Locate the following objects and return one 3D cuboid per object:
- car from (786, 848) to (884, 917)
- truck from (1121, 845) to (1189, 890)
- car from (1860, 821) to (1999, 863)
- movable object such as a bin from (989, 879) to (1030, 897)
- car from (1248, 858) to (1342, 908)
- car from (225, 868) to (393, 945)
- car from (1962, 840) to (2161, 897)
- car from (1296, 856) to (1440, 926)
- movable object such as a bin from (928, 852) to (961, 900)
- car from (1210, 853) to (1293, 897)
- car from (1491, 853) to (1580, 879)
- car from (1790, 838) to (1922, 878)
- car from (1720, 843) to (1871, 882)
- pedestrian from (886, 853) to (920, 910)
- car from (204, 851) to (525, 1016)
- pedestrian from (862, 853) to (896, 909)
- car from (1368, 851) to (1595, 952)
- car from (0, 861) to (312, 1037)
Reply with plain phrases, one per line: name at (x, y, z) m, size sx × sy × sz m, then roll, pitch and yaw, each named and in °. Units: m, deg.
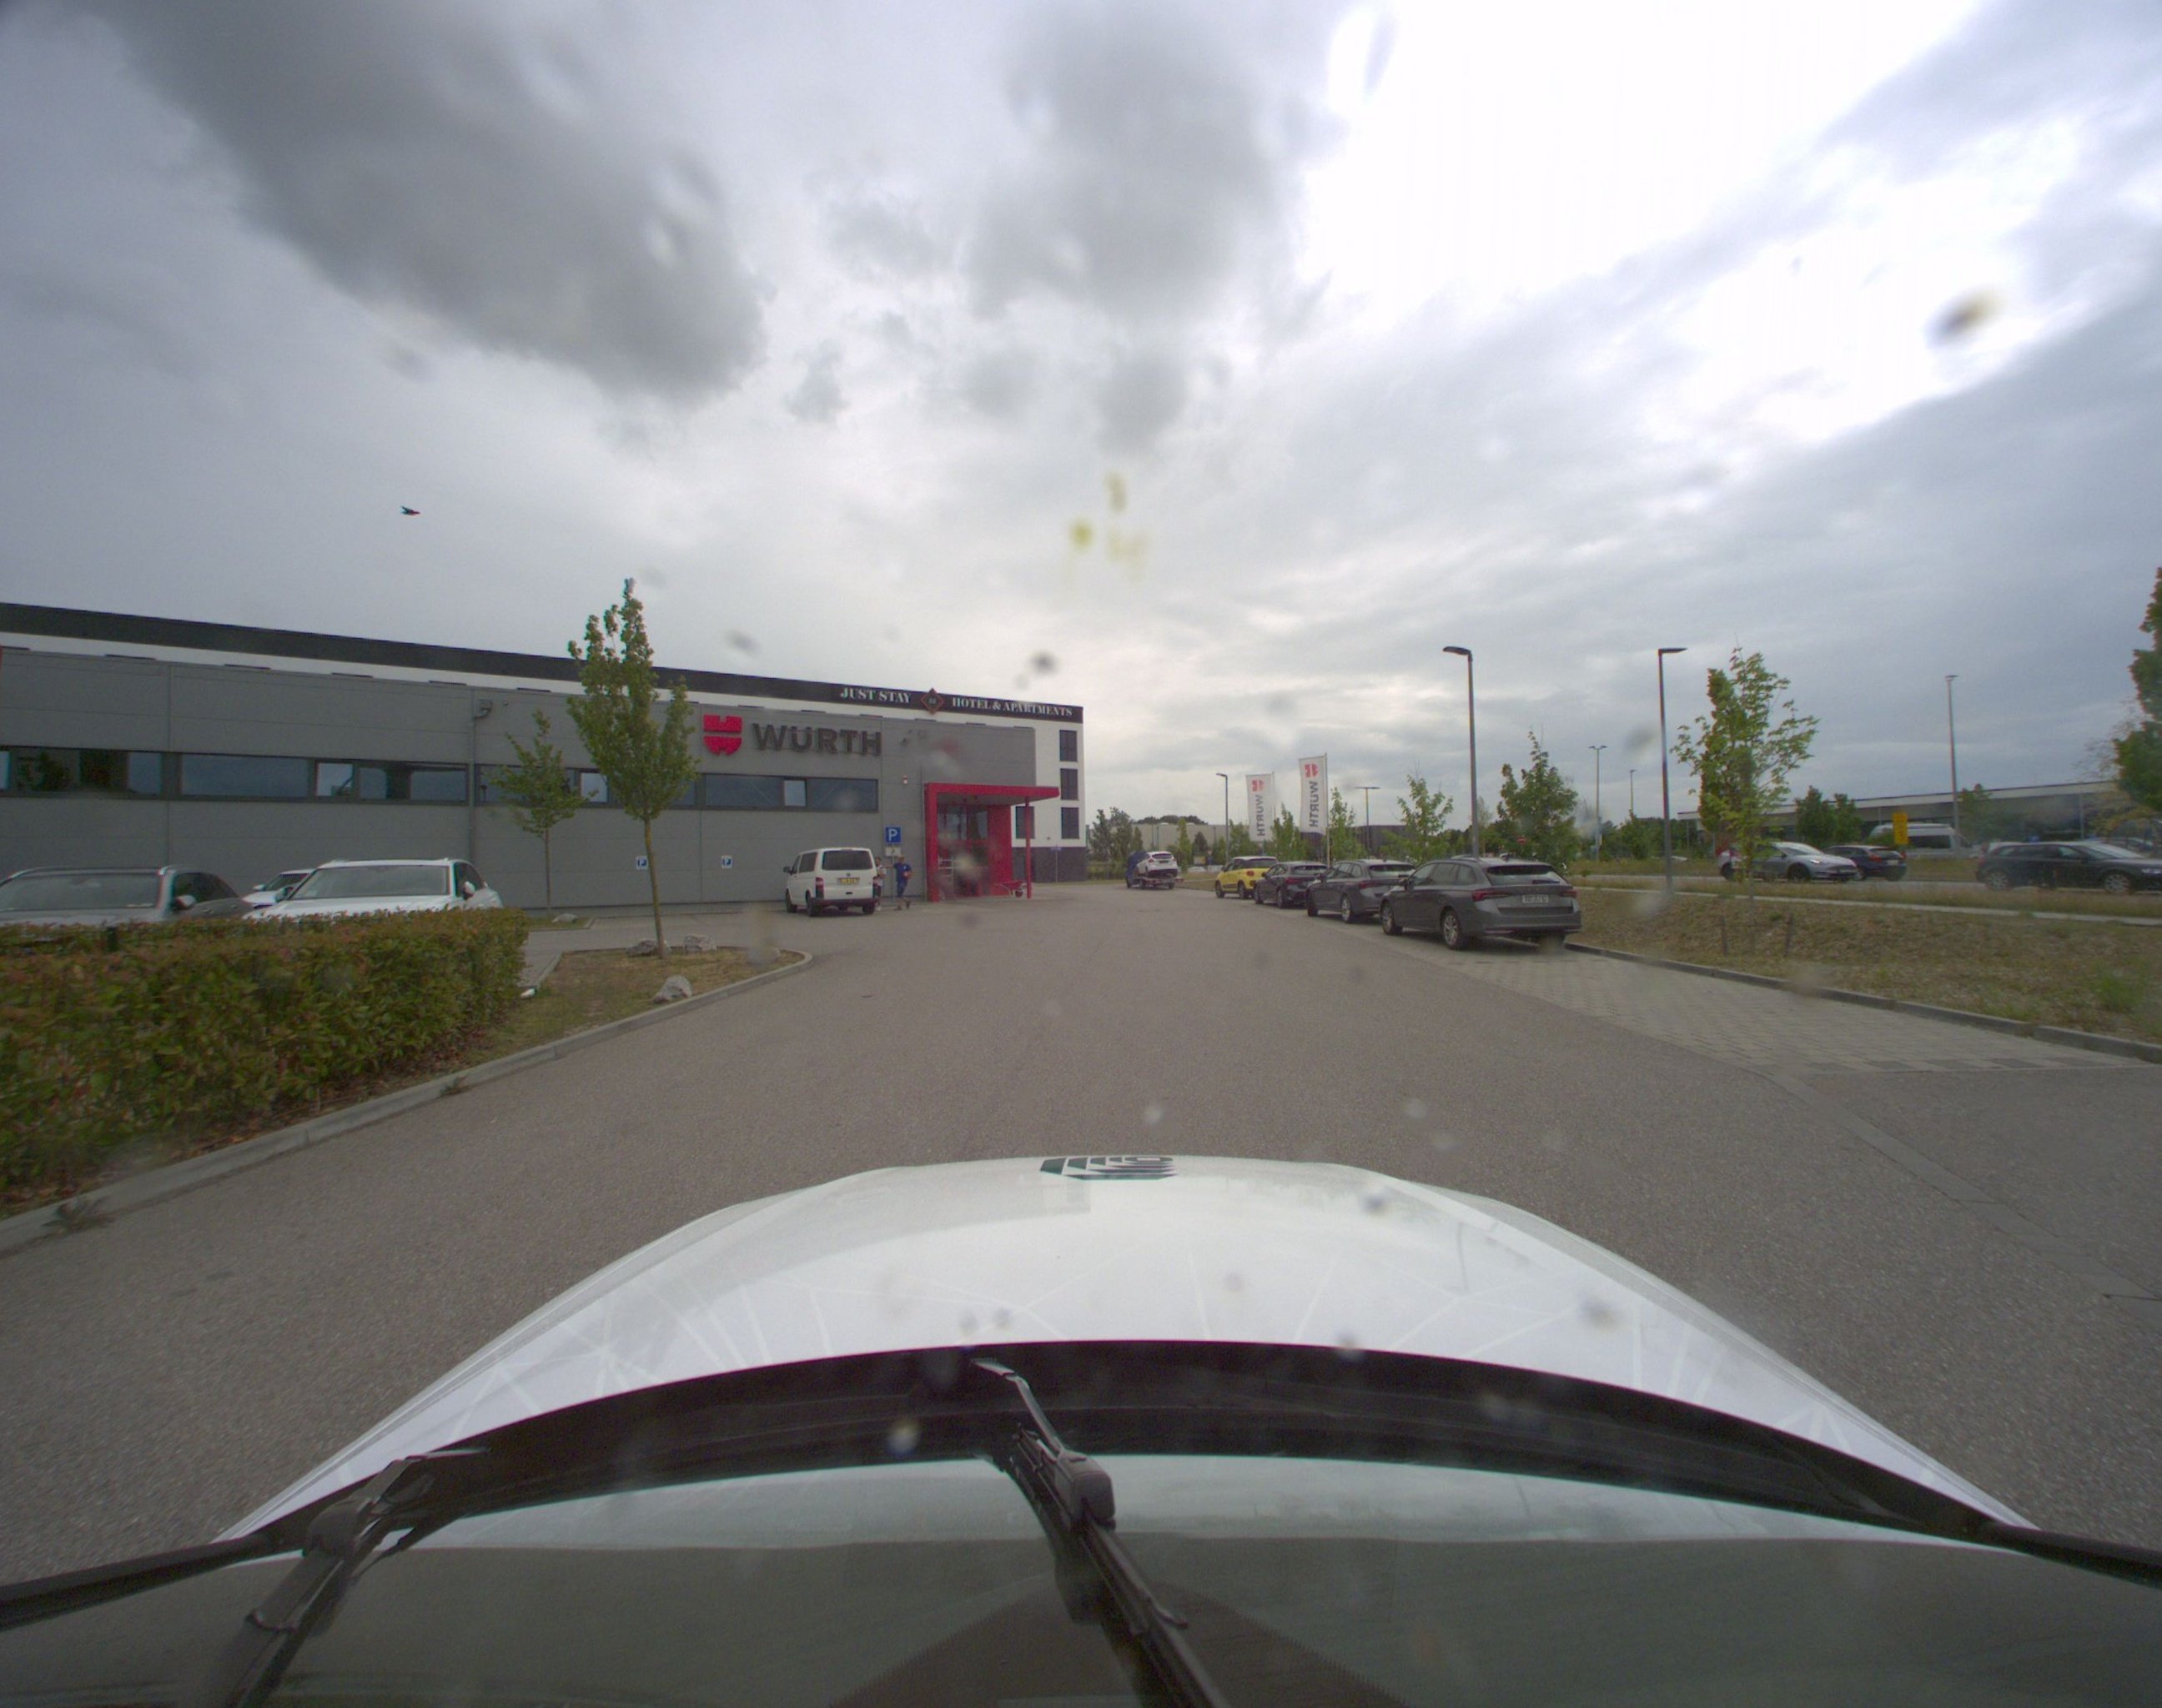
car at (-7.561, 0.849, 24.757) m, size 2.067 × 1.855 × 4.024 m, roll -2°, pitch -1°, yaw -28°
truck at (4.310, 0.818, 49.169) m, size 2.330 × 2.406 × 7.874 m, roll -2°, pitch -1°, yaw -8°
car at (49.447, -0.679, 47.535) m, size 5.559 × 2.122 × 2.340 m, roll -3°, pitch -1°, yaw 1°
movable object such as a bin at (-2.961, 1.412, 33.830) m, size 1.494 × 0.704 × 0.958 m, roll 0°, pitch -2°, yaw -23°
car at (6.776, 0.878, 26.224) m, size 1.747 × 1.469 × 4.103 m, roll -1°, pitch -1°, yaw -3°
car at (-18.344, 1.195, 19.587) m, size 1.746 × 1.552 × 4.226 m, roll -2°, pitch -1°, yaw -27°
car at (27.277, 0.356, 22.230) m, size 1.759 × 1.395 × 4.213 m, roll -1°, pitch -1°, yaw -3°
car at (6.827, 0.827, 19.896) m, size 1.747 × 1.469 × 4.471 m, roll -1°, pitch -1°, yaw -3°
movable object such as a bin at (-5.037, 0.801, 30.089) m, size 0.915 × 1.672 × 0.736 m, roll -4°, pitch 0°, yaw -29°
car at (6.757, 0.843, 32.687) m, size 1.857 × 1.650 × 3.984 m, roll 0°, pitch -2°, yaw -11°
car at (26.498, 0.709, 47.663) m, size 1.767 × 1.395 × 4.532 m, roll -1°, pitch -1°, yaw -17°
car at (31.852, 0.186, 33.652) m, size 1.650 × 1.459 × 3.919 m, roll -3°, pitch -1°, yaw -1°
car at (27.886, 0.327, 32.000) m, size 1.759 × 1.395 × 4.552 m, roll -1°, pitch -1°, yaw -3°
pedestrian at (-5.735, 0.866, 26.228) m, size 0.671 × 1.803 × 0.885 m, roll -2°, pitch -1°, yaw 20°
car at (-9.257, 0.904, 11.077) m, size 2.003 × 1.650 × 4.540 m, roll -3°, pitch -1°, yaw -25°
pedestrian at (-6.466, 0.853, 26.127) m, size 0.618 × 1.751 × 0.910 m, roll -2°, pitch -1°, yaw 20°
car at (6.692, 0.724, 14.237) m, size 1.746 × 1.469 × 4.474 m, roll -1°, pitch -1°, yaw 0°
car at (-11.582, 1.007, 9.784) m, size 2.003 × 1.650 × 4.540 m, roll -3°, pitch -1°, yaw -25°
